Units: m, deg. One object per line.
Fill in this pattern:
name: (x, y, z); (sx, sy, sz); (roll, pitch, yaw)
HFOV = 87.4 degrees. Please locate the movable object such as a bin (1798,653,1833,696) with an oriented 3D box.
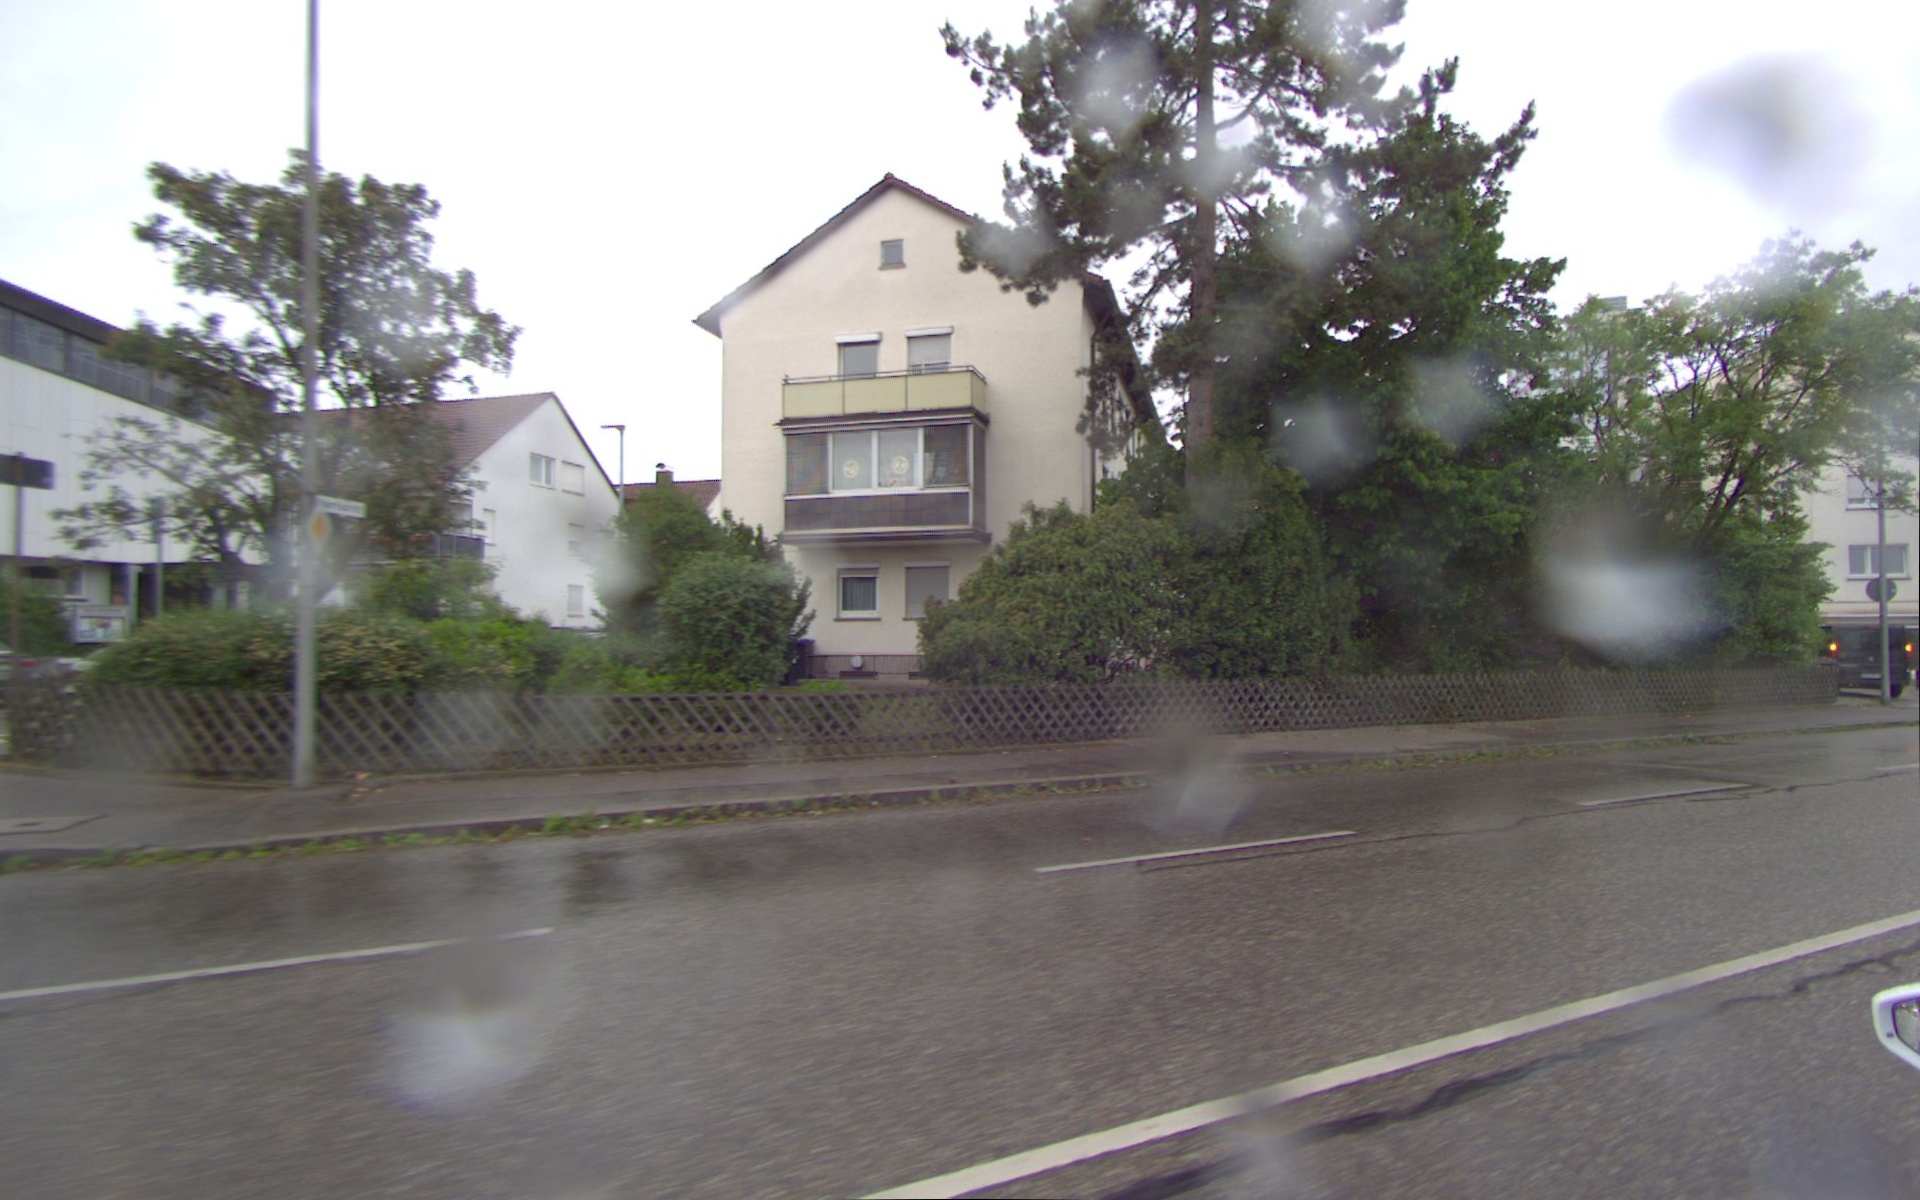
movable object such as a bin: (23.188, 2.013, 27.235); (0.590, 1.133, 0.600); (-1, -2, 28)

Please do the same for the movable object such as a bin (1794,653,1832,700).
movable object such as a bin: (21.261, 1.890, 25.040); (0.596, 1.133, 0.594); (2, -3, -38)

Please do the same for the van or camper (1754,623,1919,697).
van or camper: (25.624, 1.688, 29.559); (1.961, 1.950, 5.218); (-2, -1, 20)

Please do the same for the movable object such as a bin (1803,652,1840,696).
movable object such as a bin: (22.806, 1.957, 26.600); (0.590, 1.133, 0.600); (-1, -2, 28)

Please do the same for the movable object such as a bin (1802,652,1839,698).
movable object such as a bin: (21.781, 1.886, 25.414); (0.596, 1.133, 0.594); (2, -3, -38)

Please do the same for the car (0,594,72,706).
car: (-19.303, 0.944, 19.128); (3.922, 2.040, 2.000); (-1, -2, 21)

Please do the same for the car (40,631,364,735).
car: (-12.193, 1.250, 16.523); (1.751, 1.466, 4.004); (0, -2, 16)
